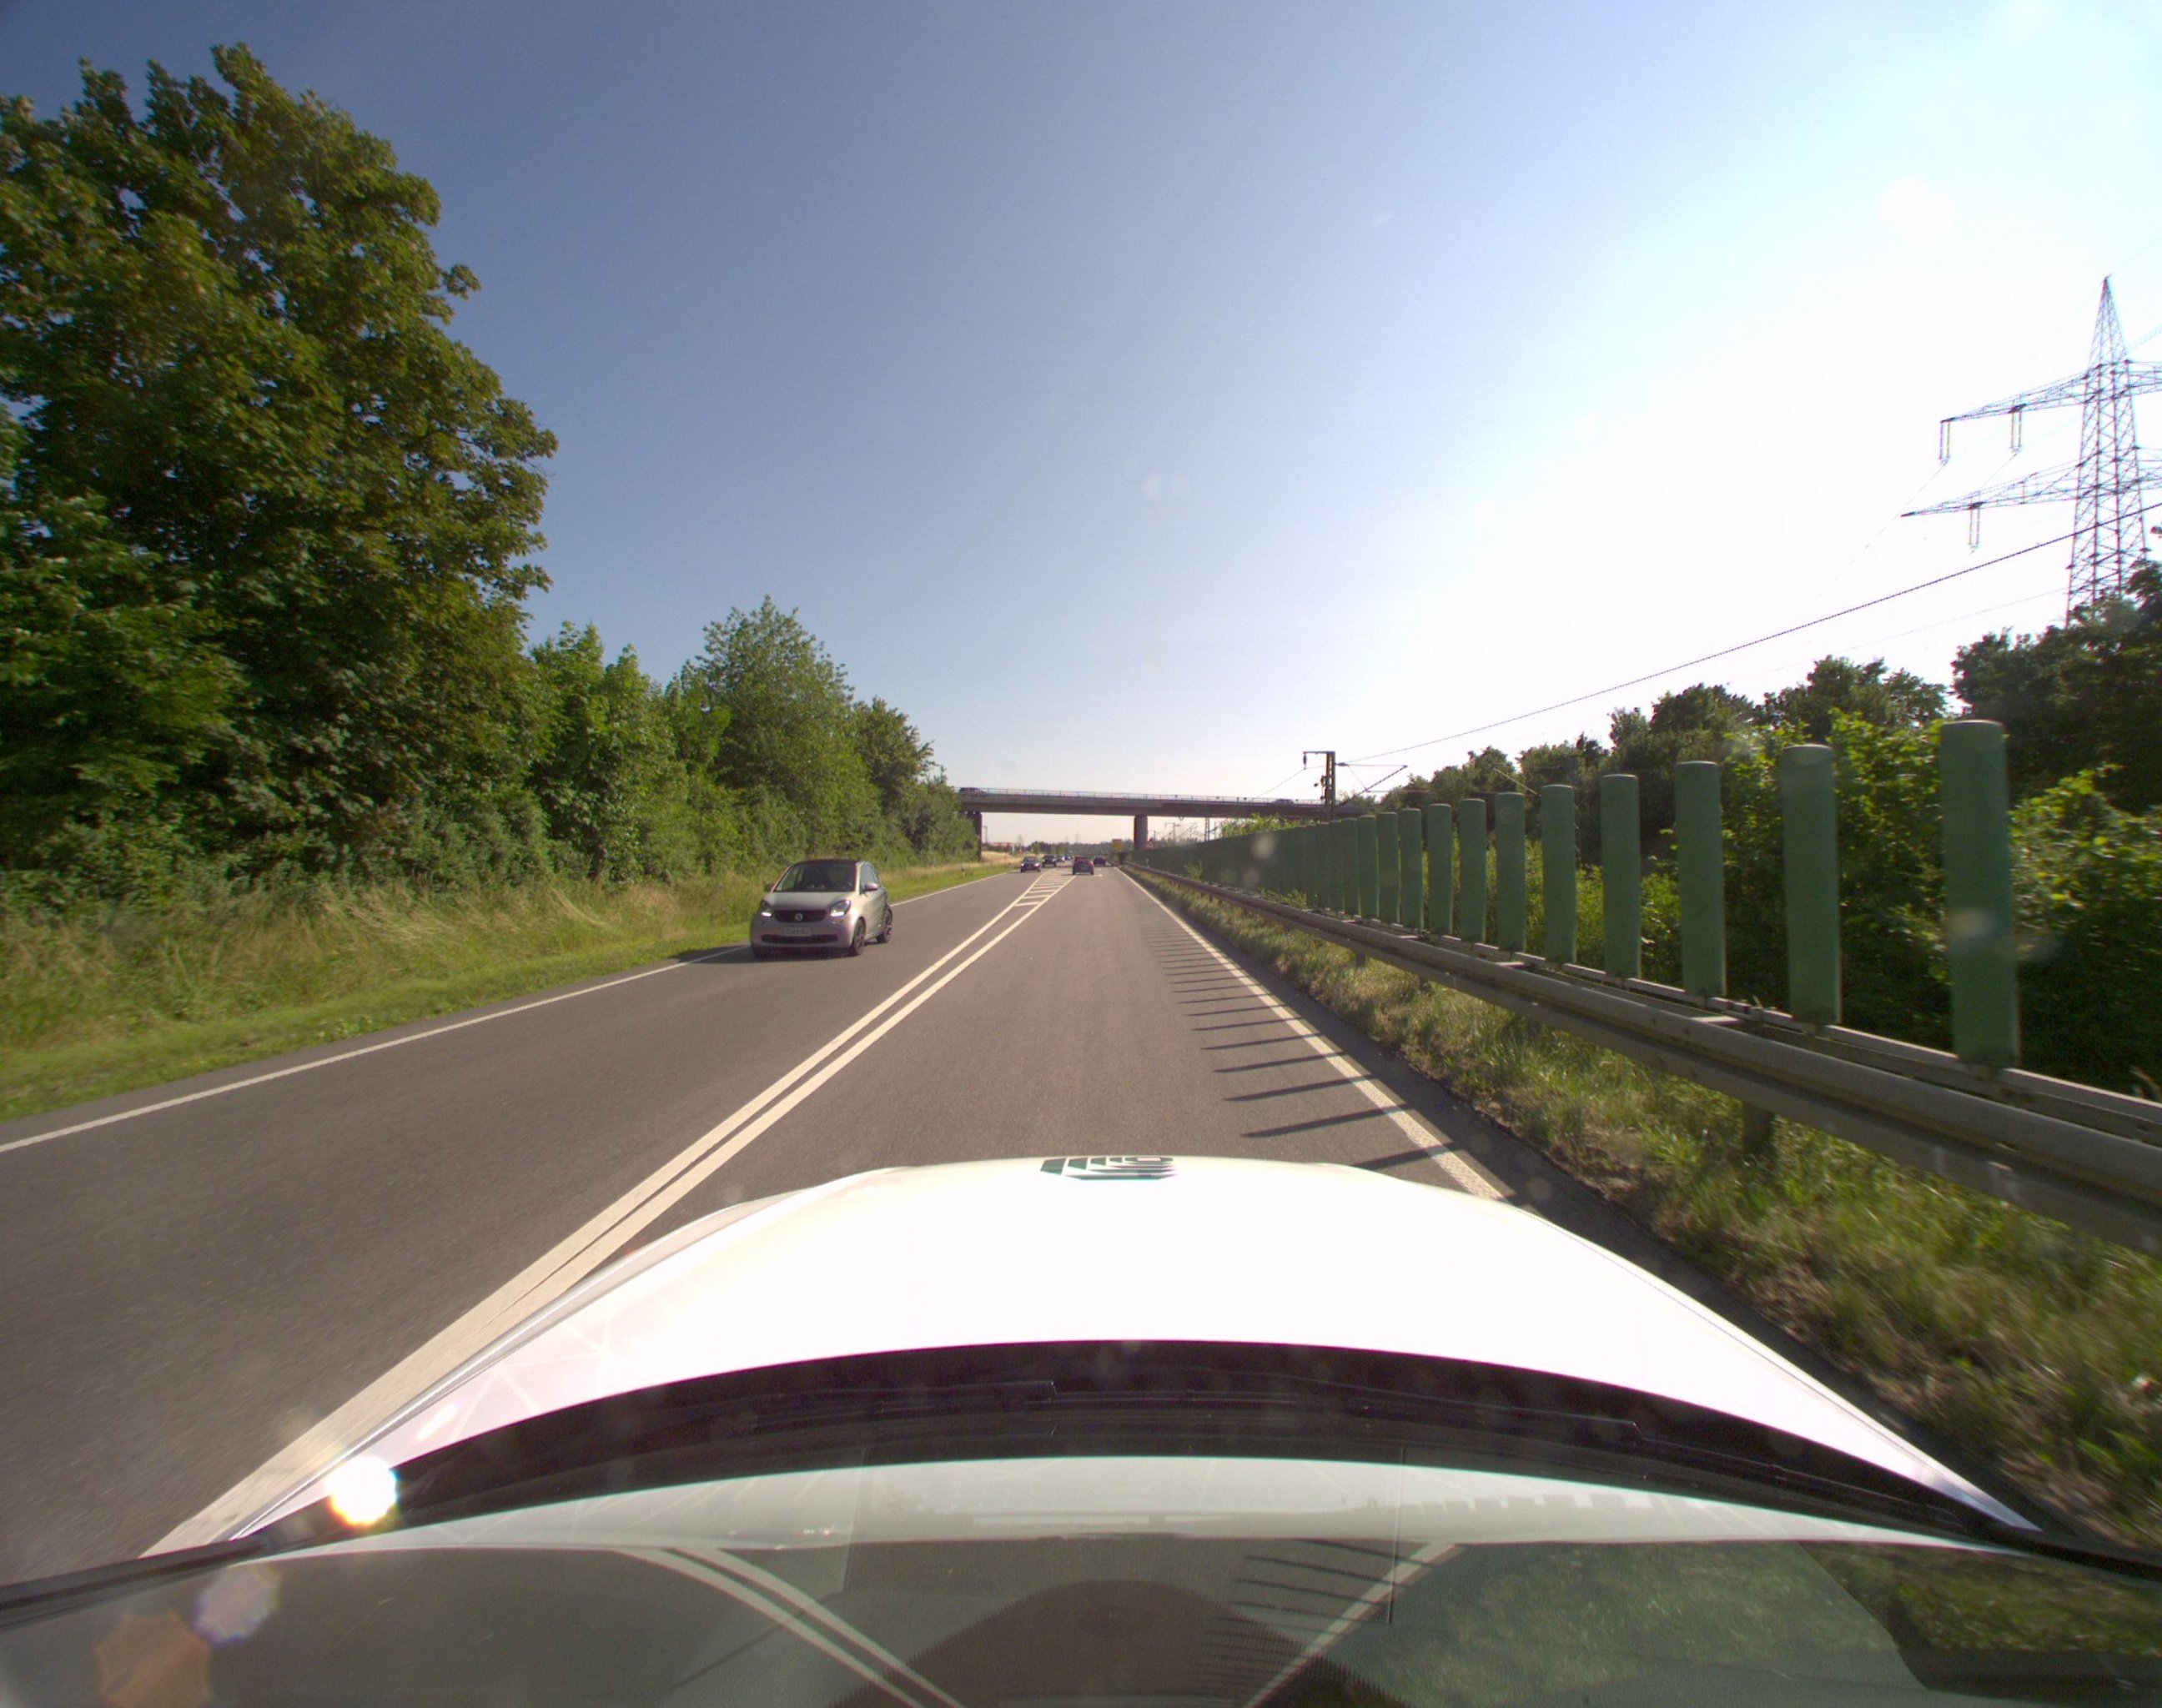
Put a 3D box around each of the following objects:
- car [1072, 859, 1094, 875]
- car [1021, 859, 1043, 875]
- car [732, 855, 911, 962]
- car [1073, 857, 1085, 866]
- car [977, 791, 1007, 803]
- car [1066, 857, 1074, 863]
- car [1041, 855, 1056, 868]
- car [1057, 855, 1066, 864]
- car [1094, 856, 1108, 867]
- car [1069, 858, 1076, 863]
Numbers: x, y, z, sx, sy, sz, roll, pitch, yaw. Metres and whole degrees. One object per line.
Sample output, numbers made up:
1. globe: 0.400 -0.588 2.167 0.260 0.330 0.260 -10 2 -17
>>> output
1. car: 0.178 1.017 63.975 1.657 1.261 4.001 0 -1 1
2. car: -4.467 1.171 74.482 1.744 1.482 3.999 0 0 -1
3. car: -4.345 0.825 14.316 1.851 1.559 3.999 -1 0 -1
4. car: -0.330 1.187 134.828 1.888 1.418 4.001 0 -1 1
5. car: -10.971 -7.002 100.069 3.379 1.318 1.568 0 -1 -21
6. car: -2.858 1.518 207.691 1.888 1.630 4.001 0 -1 1
7. car: -4.536 1.041 114.420 1.917 1.593 4.427 3 0 -2
8. car: -3.967 1.099 164.474 1.840 1.630 3.999 0 0 -1
9. car: 2.846 1.049 115.028 1.888 1.418 4.001 0 -1 1
10. car: -2.673 2.045 254.444 1.888 1.630 4.001 0 -1 1
